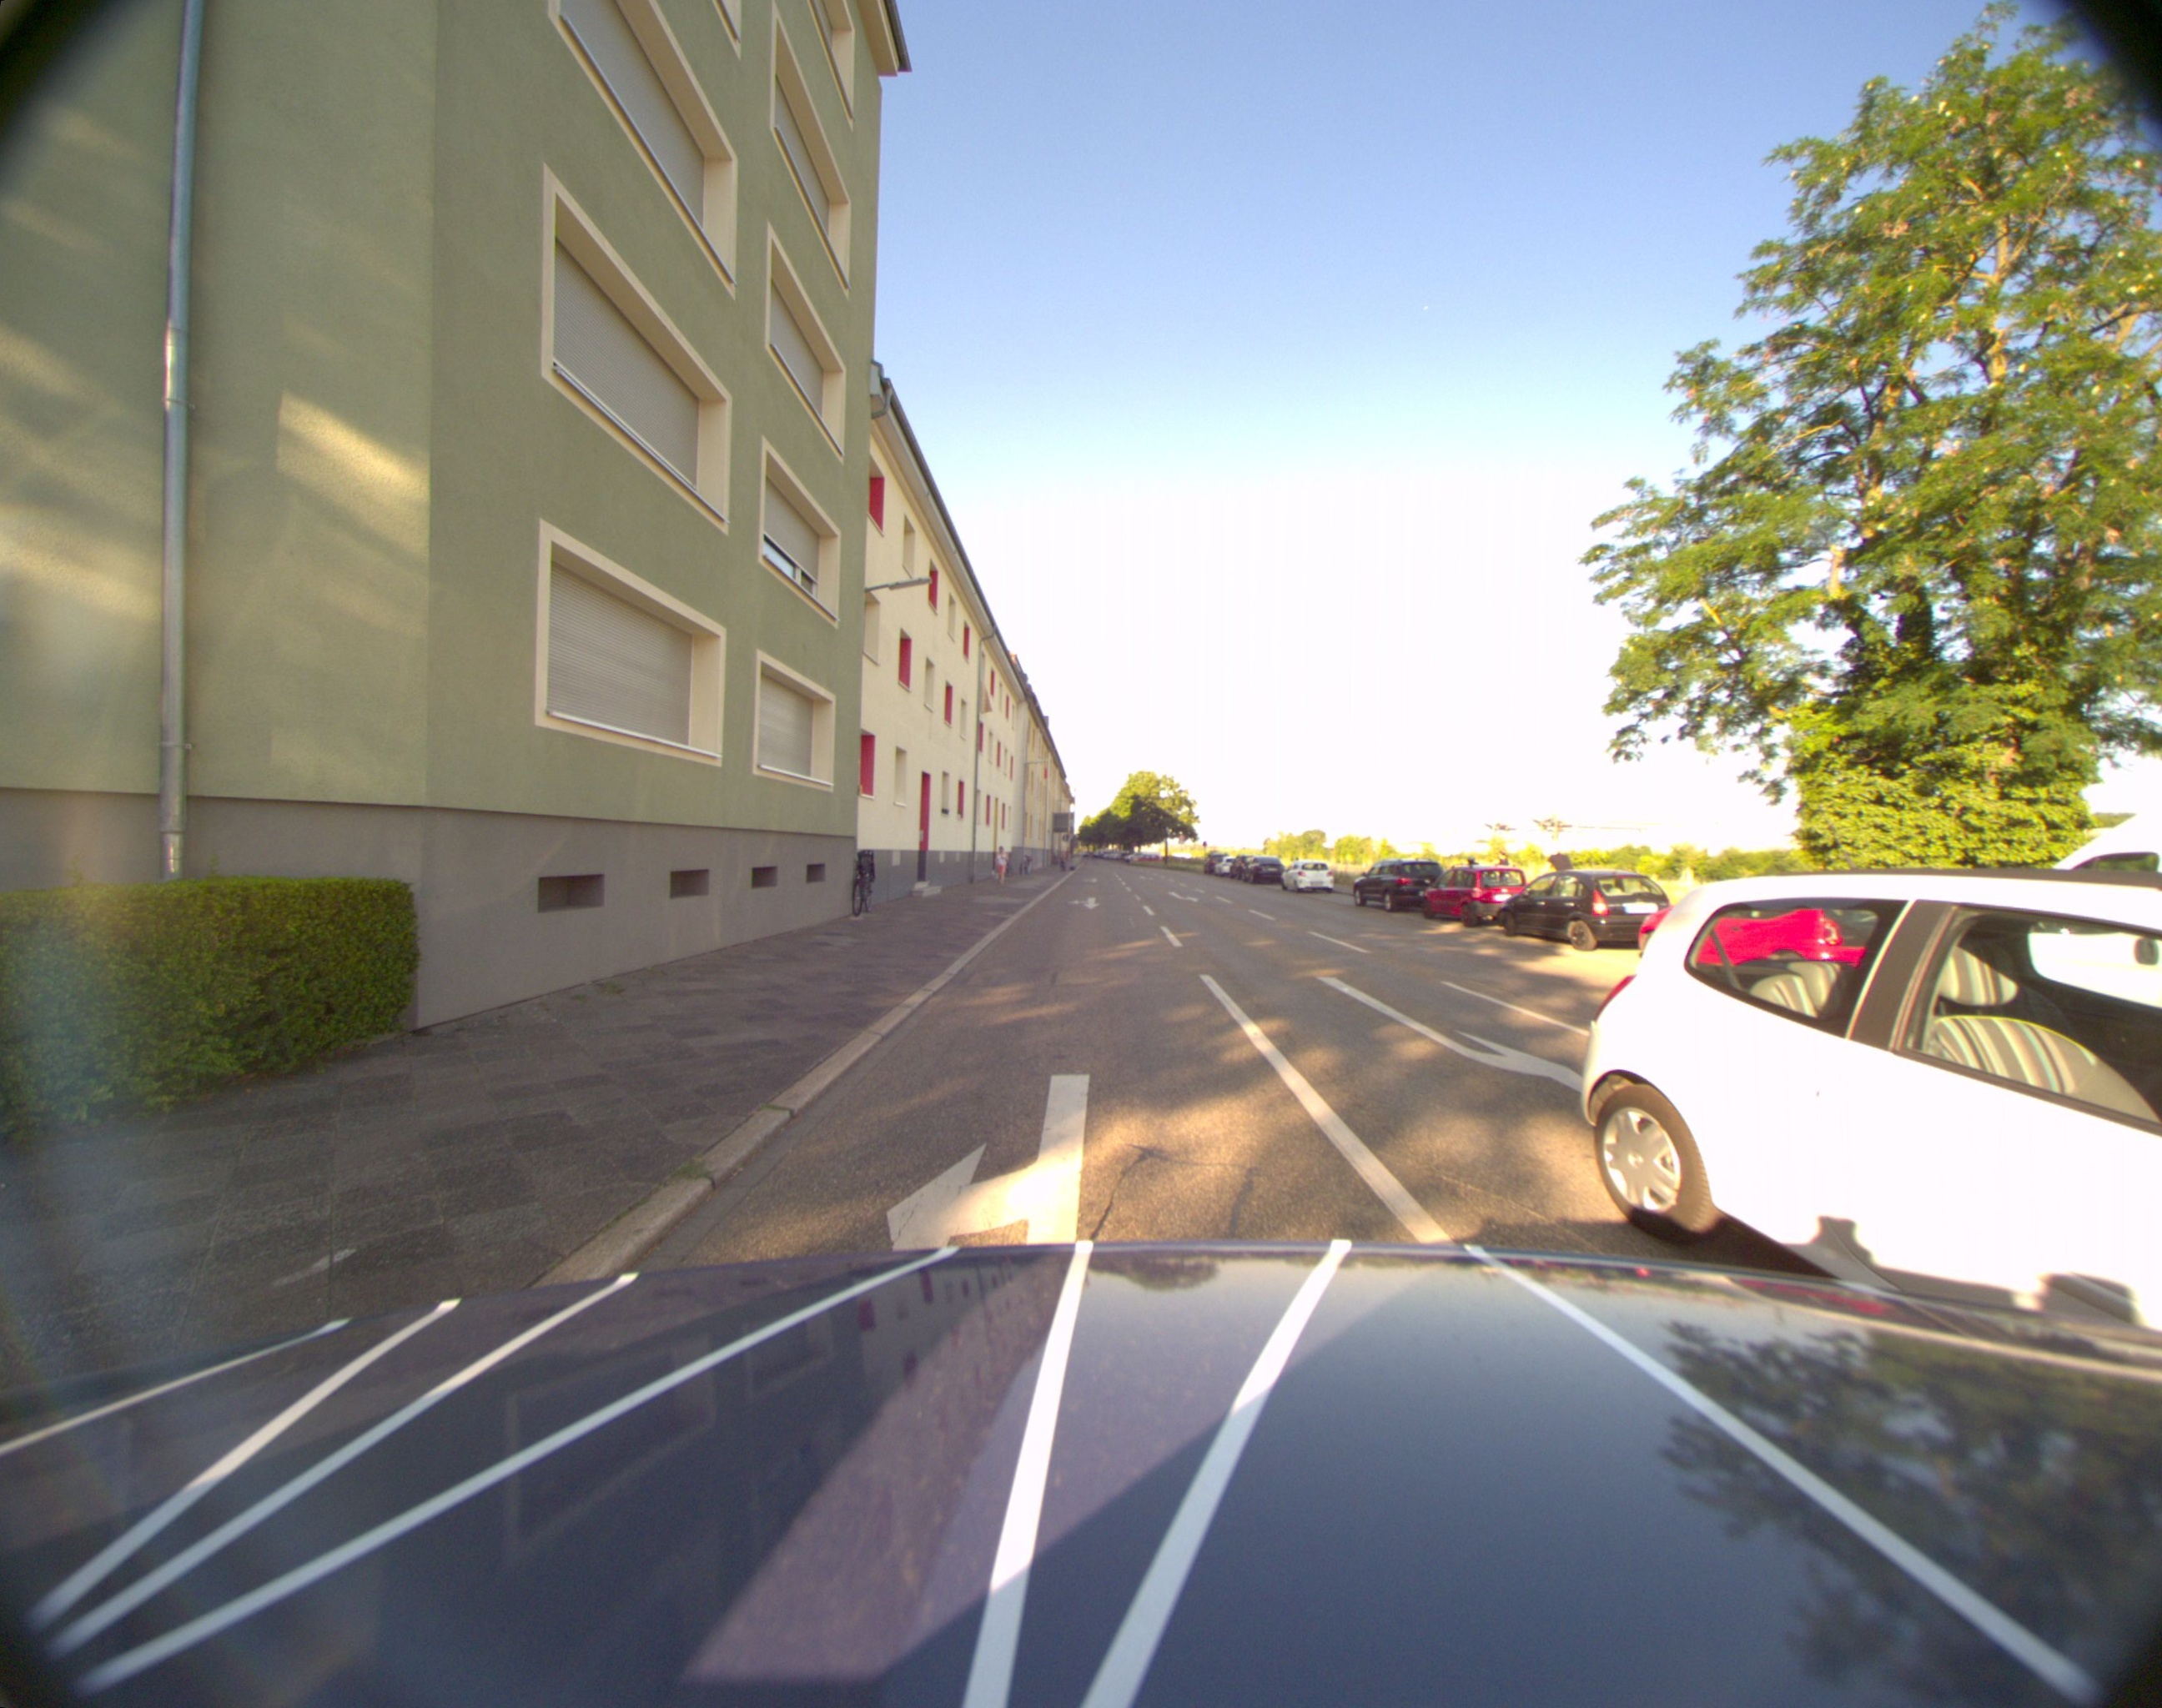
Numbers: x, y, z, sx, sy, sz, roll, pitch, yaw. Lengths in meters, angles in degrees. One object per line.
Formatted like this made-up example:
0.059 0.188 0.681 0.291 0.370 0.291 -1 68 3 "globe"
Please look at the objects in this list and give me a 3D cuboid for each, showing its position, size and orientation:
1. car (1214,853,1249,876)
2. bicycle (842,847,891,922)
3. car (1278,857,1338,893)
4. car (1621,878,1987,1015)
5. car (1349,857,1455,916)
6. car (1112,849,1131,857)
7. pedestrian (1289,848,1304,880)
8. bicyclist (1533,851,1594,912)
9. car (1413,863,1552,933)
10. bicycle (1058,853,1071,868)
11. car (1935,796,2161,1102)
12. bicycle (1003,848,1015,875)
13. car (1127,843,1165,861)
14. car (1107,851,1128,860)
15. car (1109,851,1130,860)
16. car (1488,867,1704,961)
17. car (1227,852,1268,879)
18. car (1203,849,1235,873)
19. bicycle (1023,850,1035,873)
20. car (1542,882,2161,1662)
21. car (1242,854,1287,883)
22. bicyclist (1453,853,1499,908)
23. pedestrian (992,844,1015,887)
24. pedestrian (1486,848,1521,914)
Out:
10.857 0.709 55.105 1.823 1.565 4.220 2 0 2 "car"
-4.308 0.577 15.379 0.517 1.404 1.873 2 1 -3 "bicycle"
10.413 0.922 35.078 1.706 1.517 3.583 2 1 1 "car"
10.069 1.179 11.051 1.745 1.478 3.694 2 1 0 "car"
10.143 0.950 24.357 1.664 1.649 4.005 2 1 0 "car"
9.200 -0.212 173.173 3.997 1.708 2.000 2 1 -1 "car"
13.836 0.631 48.710 0.706 2.002 0.710 2 1 2 "pedestrian"
13.043 0.713 20.573 0.866 1.587 1.146 2 1 1 "bicyclist"
10.264 1.064 19.737 1.664 1.521 3.579 2 1 0 "car"
-1.245 0.495 56.850 0.651 1.091 2.201 1 1 -8 "bicycle"
9.689 0.748 4.828 2.235 2.422 5.559 -1 1 -1 "car"
-3.930 0.385 41.383 0.517 1.404 1.873 2 1 -3 "bicycle"
9.525 -0.292 112.251 5.322 2.398 2.266 -2 1 0 "car"
7.424 0.203 155.325 3.997 1.708 2.000 2 1 -1 "car"
7.492 0.262 149.742 3.997 1.708 2.000 2 1 -1 "car"
10.171 1.106 15.420 1.745 1.521 3.816 2 1 0 "car"
10.850 0.684 49.712 1.823 1.628 4.220 2 1 2 "car"
11.005 0.527 60.989 1.890 1.765 4.220 2 1 2 "car"
-3.160 0.436 46.315 0.517 1.318 2.210 2 1 2 "bicycle"
3.014 0.895 1.618 1.705 1.460 3.775 2 1 -1 "car"
10.574 0.814 44.011 1.823 1.517 4.291 2 0 5 "car"
11.863 0.776 22.856 0.768 1.587 1.146 2 1 2 "bicyclist"
-3.142 0.468 30.854 0.787 1.697 0.950 3 1 1 "pedestrian"
13.150 0.835 23.671 0.615 2.002 0.730 2 1 -1 "pedestrian"
